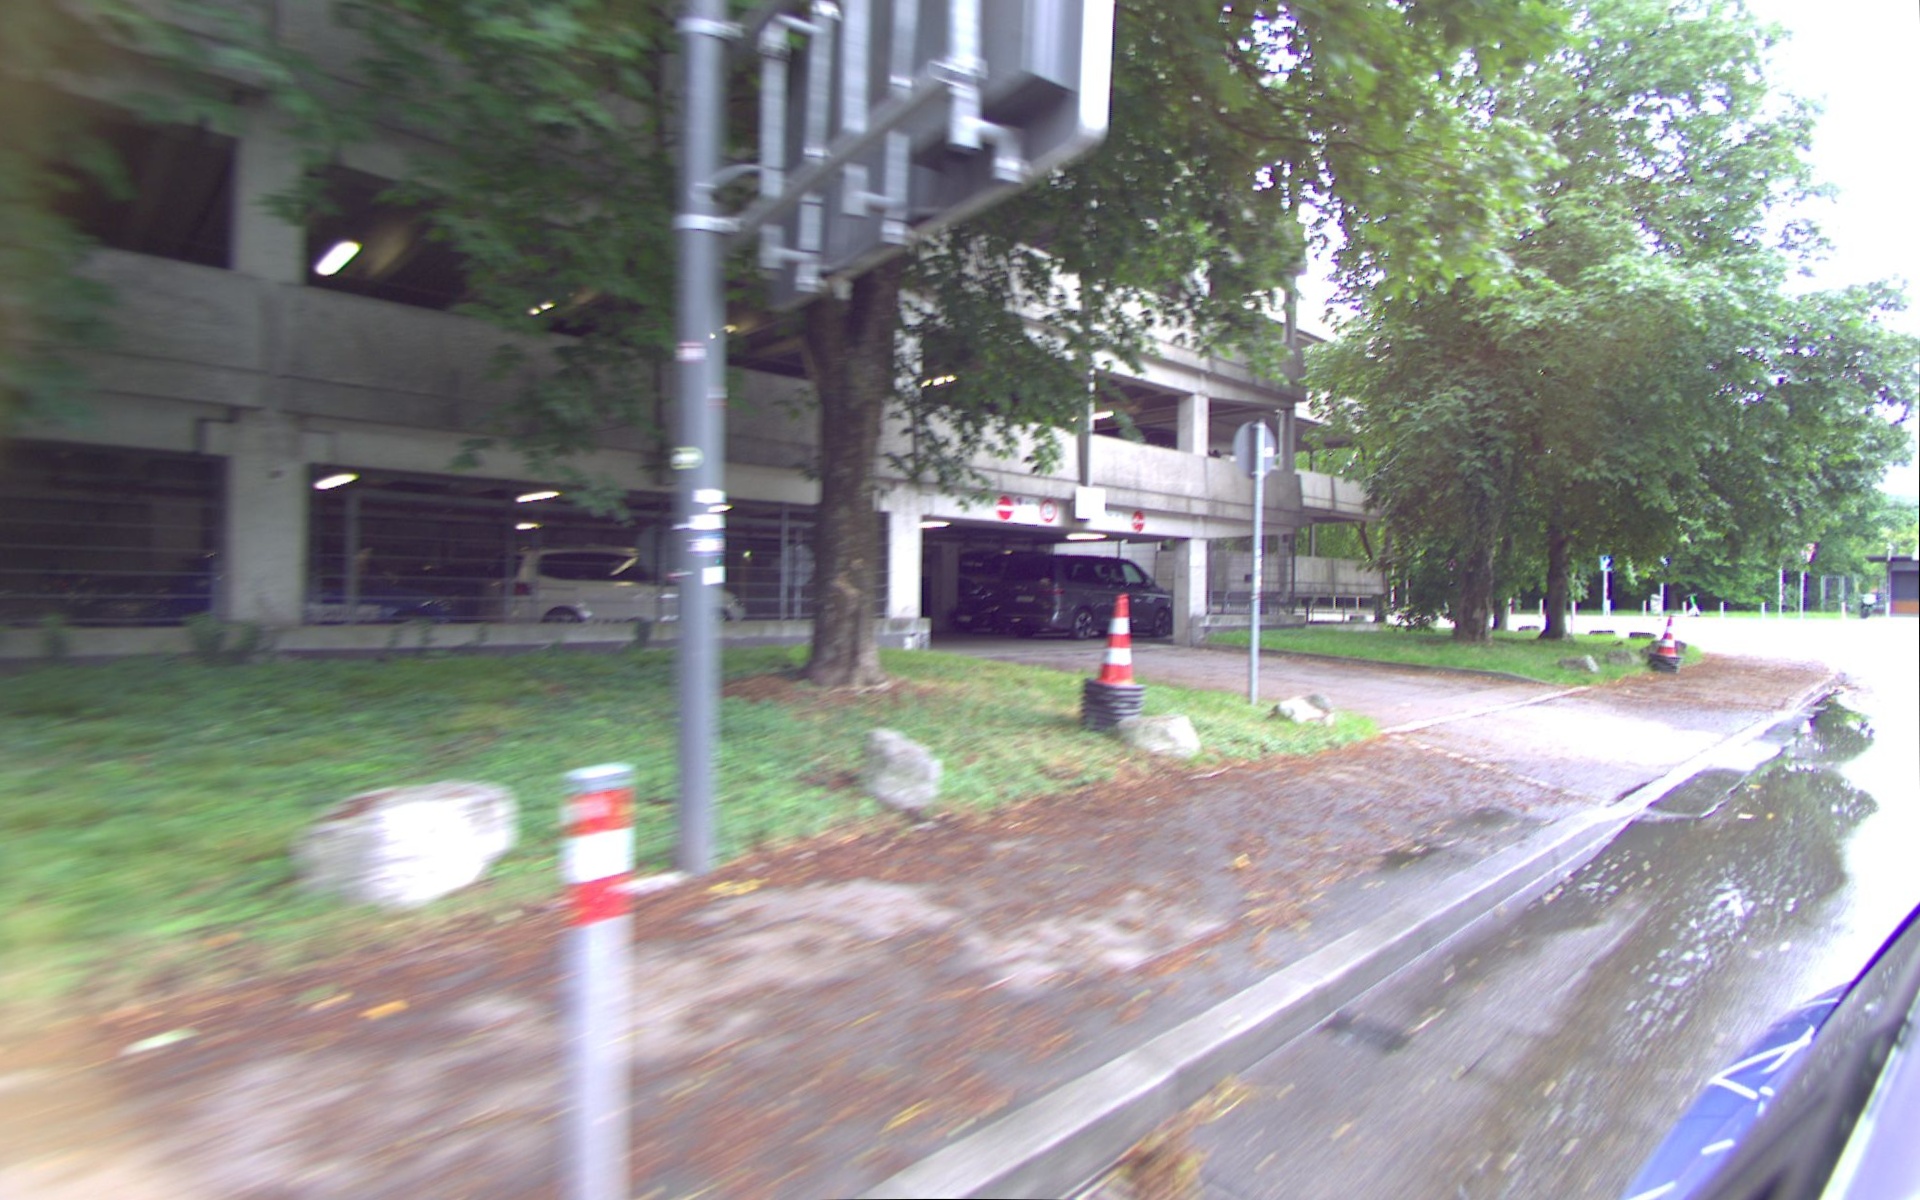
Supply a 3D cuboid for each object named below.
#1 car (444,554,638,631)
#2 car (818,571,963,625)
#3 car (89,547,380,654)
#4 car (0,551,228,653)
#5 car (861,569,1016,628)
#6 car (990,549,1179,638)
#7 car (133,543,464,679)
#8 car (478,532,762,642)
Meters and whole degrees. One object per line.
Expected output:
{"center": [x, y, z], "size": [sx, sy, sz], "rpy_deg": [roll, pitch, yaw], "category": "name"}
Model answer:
{"center": [-9.309, -0.202, 22.657], "size": [1.716, 1.565, 3.643], "rpy_deg": [0, 1, 44], "category": "car"}
{"center": [-2.014, -0.105, 29.920], "size": [3.931, 1.471, 1.874], "rpy_deg": [-2, 1, -41], "category": "car"}
{"center": [-11.821, -0.042, 16.626], "size": [1.716, 1.565, 3.643], "rpy_deg": [0, 1, 44], "category": "car"}
{"center": [-14.708, 0.003, 17.028], "size": [1.716, 1.565, 3.643], "rpy_deg": [0, 1, 44], "category": "car"}
{"center": [-0.536, -0.087, 27.583], "size": [3.931, 1.471, 1.874], "rpy_deg": [-2, 1, -41], "category": "car"}
{"center": [2.972, -0.164, 23.497], "size": [4.659, 1.858, 1.920], "rpy_deg": [-1, 0, -45], "category": "car"}
{"center": [-9.492, 0.089, 14.712], "size": [3.795, 1.729, 1.586], "rpy_deg": [-2, 1, -45], "category": "car"}
{"center": [-5.947, -0.262, 18.129], "size": [4.592, 1.729, 1.586], "rpy_deg": [-2, 1, -45], "category": "car"}
